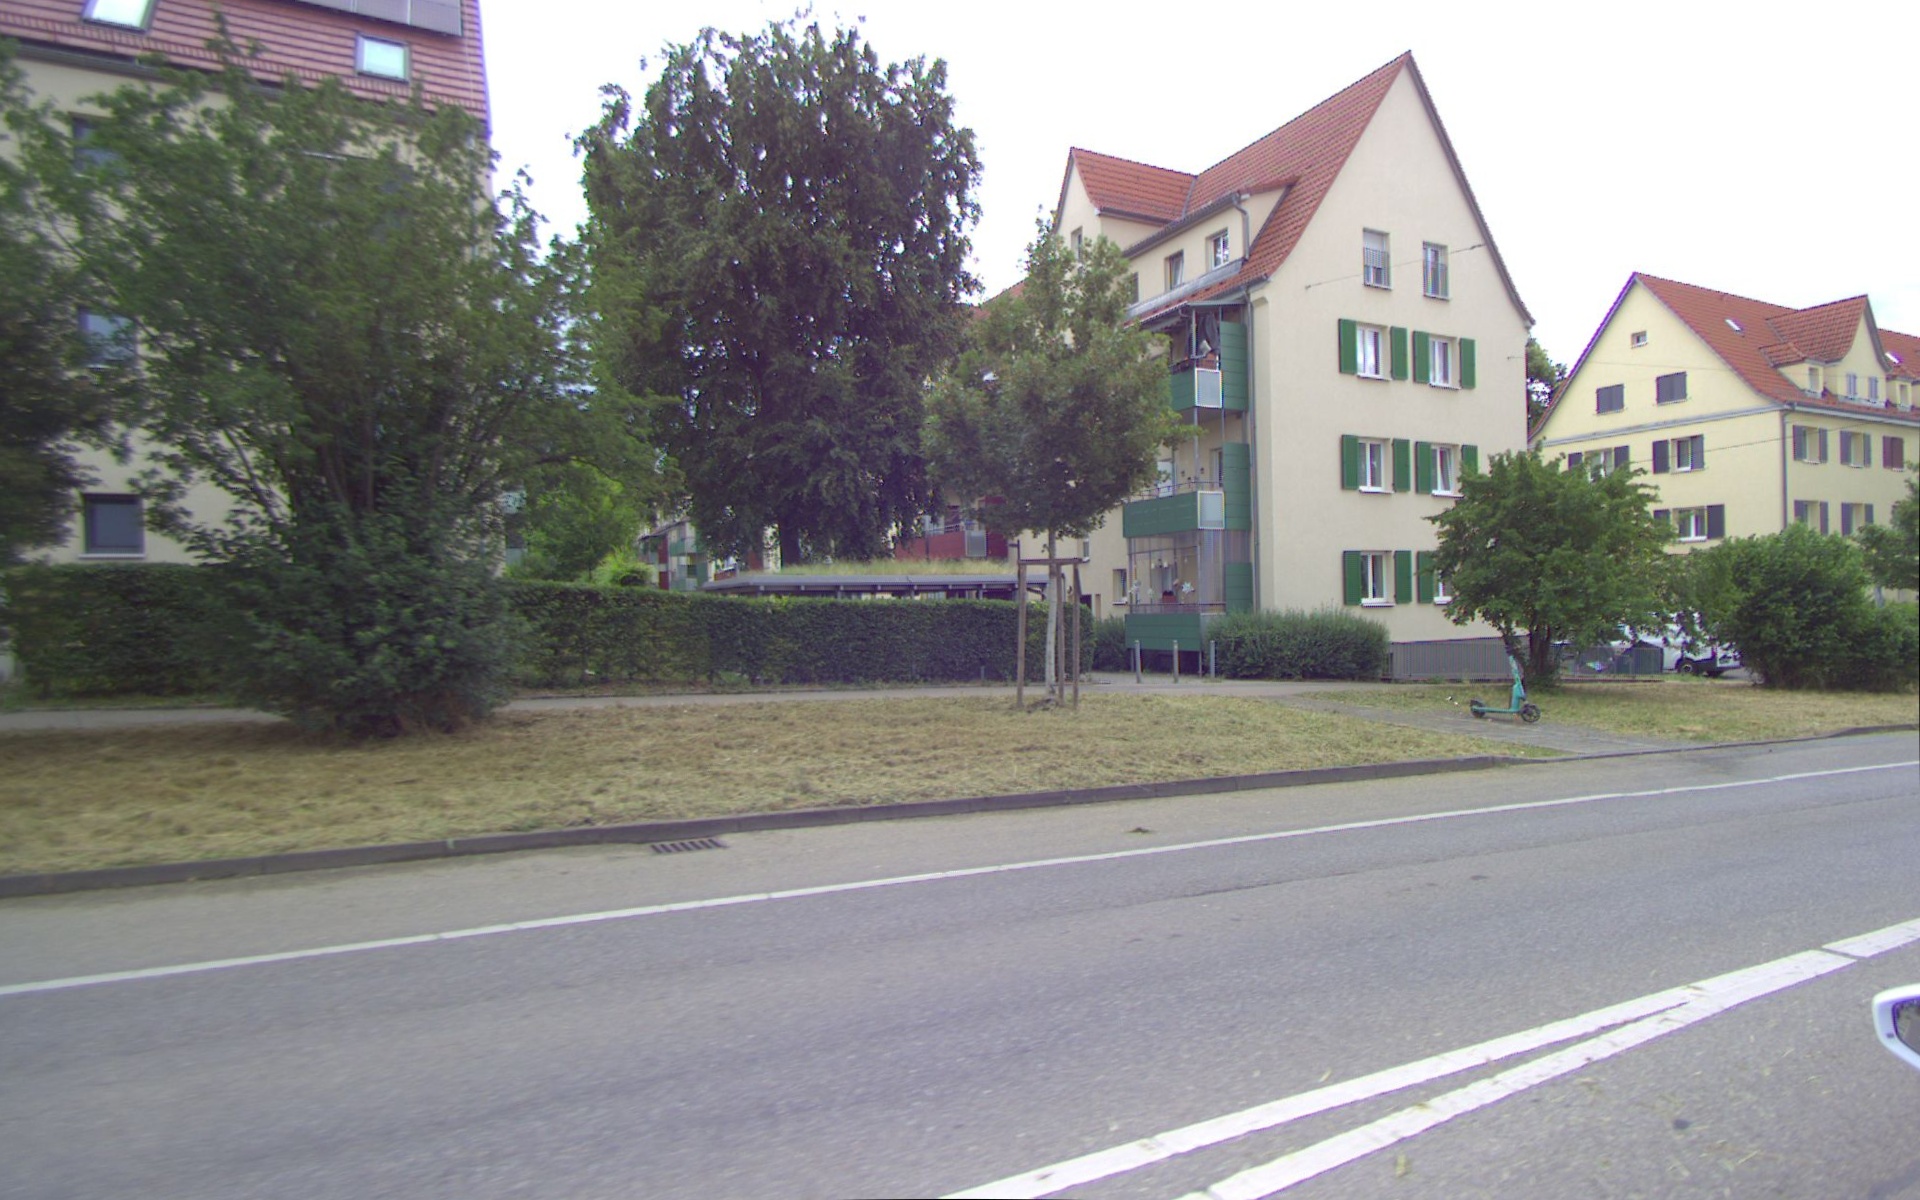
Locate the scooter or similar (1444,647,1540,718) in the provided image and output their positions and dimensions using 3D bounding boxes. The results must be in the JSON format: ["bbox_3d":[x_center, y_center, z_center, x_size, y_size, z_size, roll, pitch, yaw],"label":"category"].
[{"bbox_3d":[8.820,1.350,16.688,0.461,1.100,1.363,0,-1,-31],"label":"scooter or similar"}]

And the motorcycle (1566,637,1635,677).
[{"bbox_3d":[22.850,2.026,35.908,0.996,1.296,2.607,0,0,6],"label":"motorcycle"}]

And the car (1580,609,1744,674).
[{"bbox_3d":[26.118,1.512,37.582,1.969,2.283,4.702,1,-1,-26],"label":"car"}]
